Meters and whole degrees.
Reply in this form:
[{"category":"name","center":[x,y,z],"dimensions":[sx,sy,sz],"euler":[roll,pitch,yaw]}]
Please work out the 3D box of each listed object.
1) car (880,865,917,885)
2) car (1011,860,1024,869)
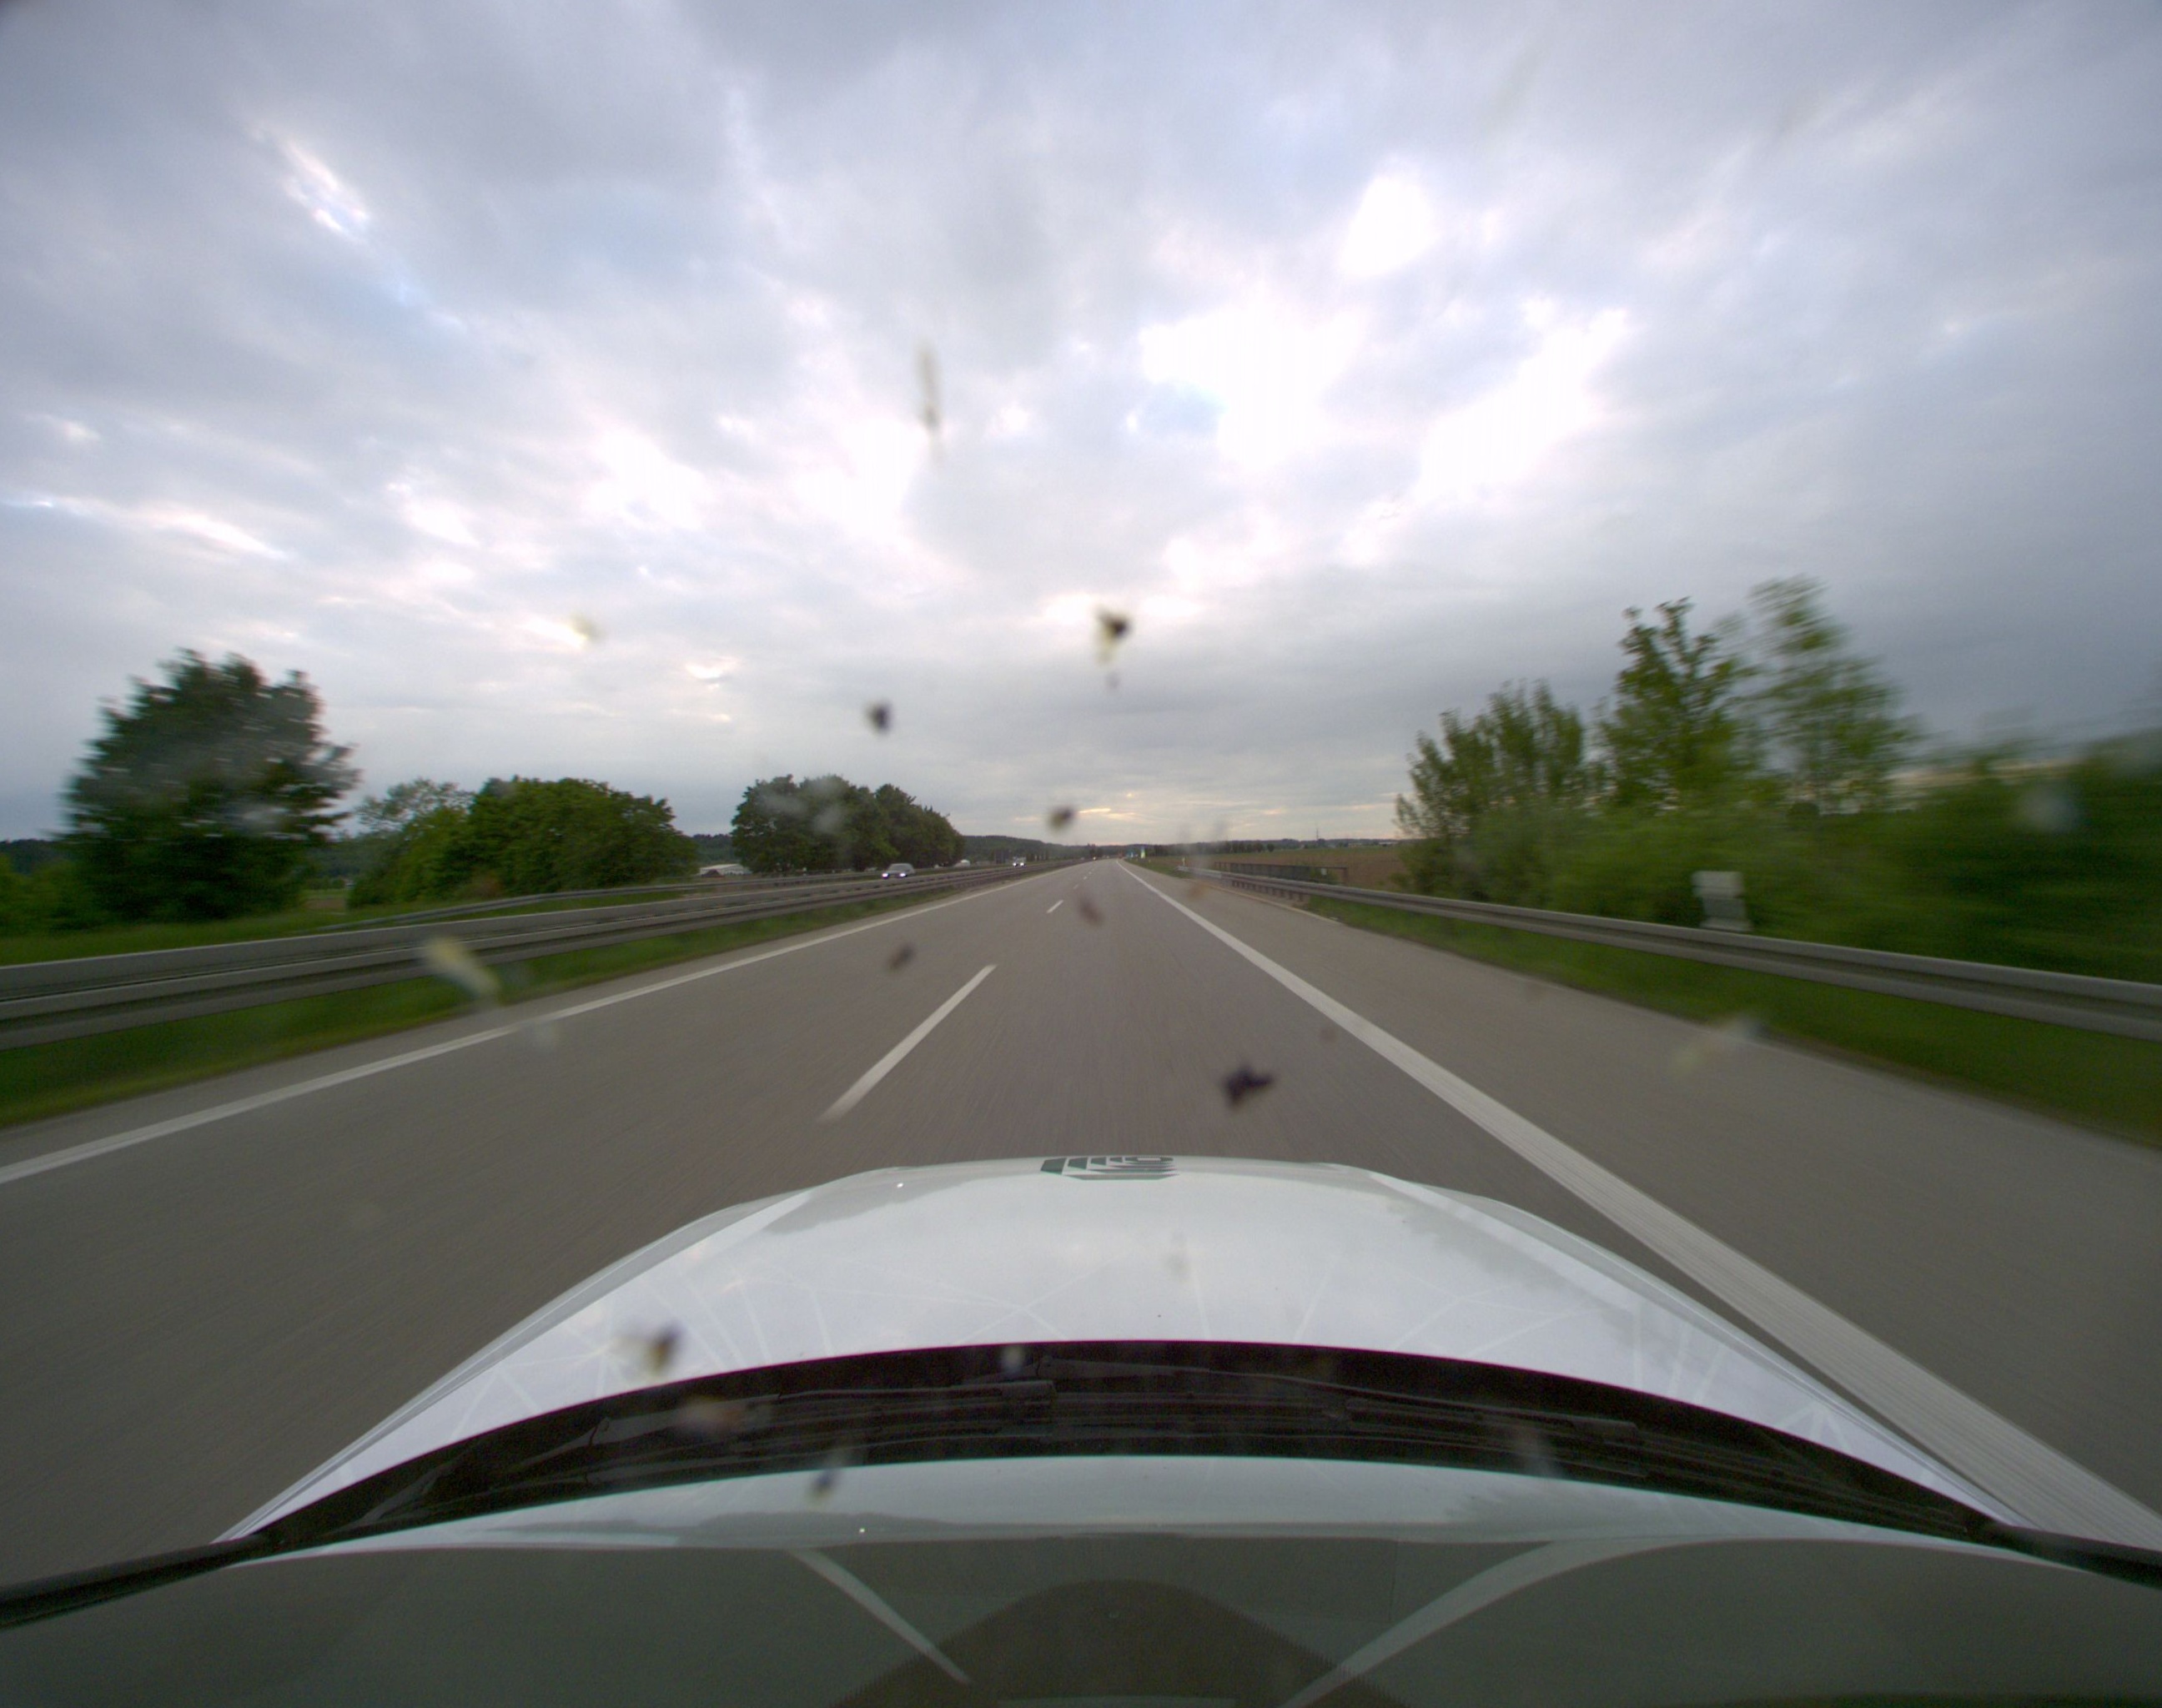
[{"category":"car","center":[-14.614,1.649,65.427],"dimensions":[1.811,1.562,4.525],"euler":[1,-1,1]},{"category":"car","center":[-11.822,1.961,151.904],"dimensions":[1.986,1.582,4.811],"euler":[0,0,2]}]
